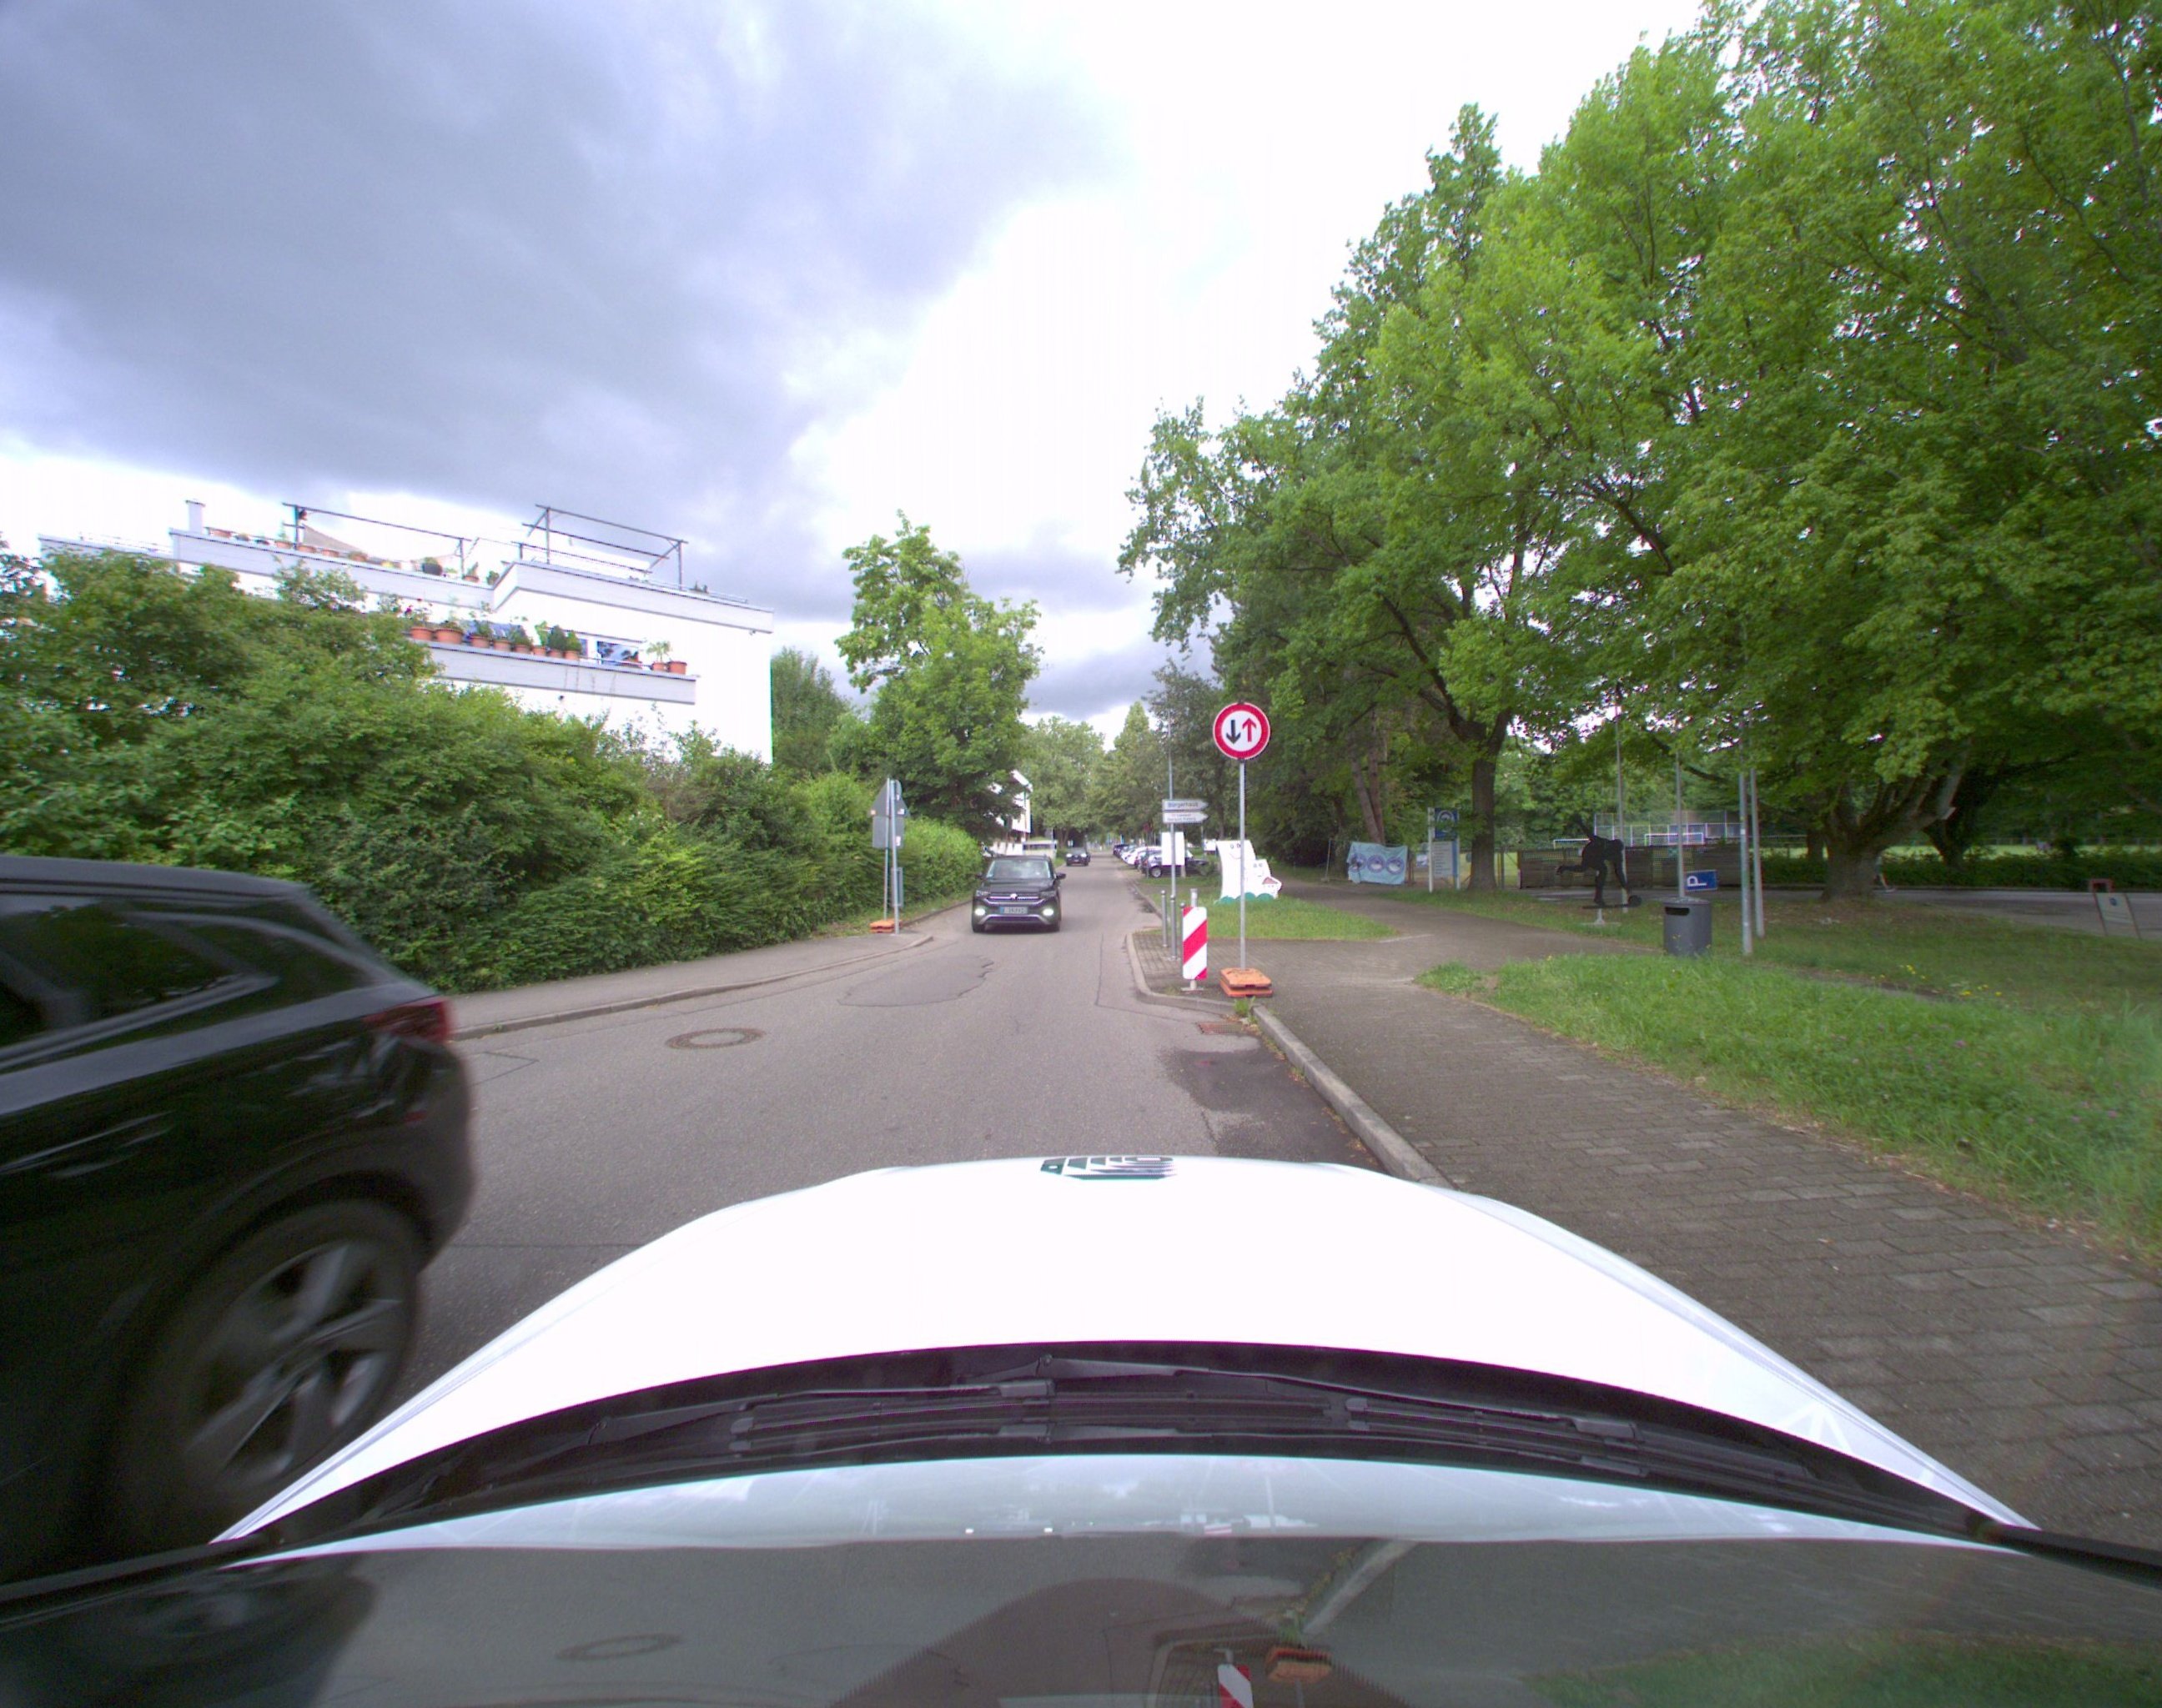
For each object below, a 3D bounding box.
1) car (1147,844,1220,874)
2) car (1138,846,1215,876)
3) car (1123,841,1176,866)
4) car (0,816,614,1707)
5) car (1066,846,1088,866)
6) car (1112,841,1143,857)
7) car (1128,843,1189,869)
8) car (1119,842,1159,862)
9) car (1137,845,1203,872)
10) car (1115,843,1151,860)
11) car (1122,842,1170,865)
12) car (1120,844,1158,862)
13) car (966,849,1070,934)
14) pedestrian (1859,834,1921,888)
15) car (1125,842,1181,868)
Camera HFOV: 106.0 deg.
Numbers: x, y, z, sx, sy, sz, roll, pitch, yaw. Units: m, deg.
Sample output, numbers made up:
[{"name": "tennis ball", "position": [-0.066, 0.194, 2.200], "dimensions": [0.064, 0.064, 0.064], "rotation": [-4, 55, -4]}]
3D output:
[{"name": "car", "position": [6.068, 0.333, 48.447], "dimensions": [4.049, 1.568, 1.822], "rotation": [-3, -1, 0]}, {"name": "car", "position": [5.310, 0.419, 45.828], "dimensions": [4.049, 1.434, 2.000], "rotation": [-3, -1, 0]}, {"name": "car", "position": [5.663, -0.039, 67.564], "dimensions": [4.053, 1.687, 1.821], "rotation": [-5, 0, -2]}, {"name": "car", "position": [-2.750, 0.752, 0.806], "dimensions": [1.794, 1.591, 4.302], "rotation": [-1, 0, 5]}, {"name": "car", "position": [-0.343, 0.176, 77.987], "dimensions": [1.962, 1.747, 4.338], "rotation": [-1, 0, 1]}, {"name": "car", "position": [6.415, -0.704, 113.671], "dimensions": [4.053, 1.770, 1.821], "rotation": [-5, 0, -2]}, {"name": "car", "position": [5.503, 0.137, 58.214], "dimensions": [4.053, 1.488, 1.821], "rotation": [-5, 0, -2]}, {"name": "car", "position": [6.190, -0.224, 87.087], "dimensions": [4.053, 1.687, 1.821], "rotation": [-5, 0, -2]}, {"name": "car", "position": [5.812, 0.288, 53.527], "dimensions": [4.049, 1.568, 1.823], "rotation": [-3, 0, 0]}, {"name": "car", "position": [6.265, -0.303, 98.029], "dimensions": [4.053, 1.687, 1.821], "rotation": [-5, 0, -2]}, {"name": "car", "position": [5.850, -0.048, 73.948], "dimensions": [4.053, 1.687, 1.821], "rotation": [-5, 0, -2]}, {"name": "car", "position": [6.602, -0.142, 92.976], "dimensions": [4.053, 1.687, 1.821], "rotation": [-5, 0, -2]}, {"name": "car", "position": [-1.243, 0.705, 17.736], "dimensions": [1.796, 1.591, 4.297], "rotation": [-1, 0, 1]}, {"name": "pedestrian", "position": [26.243, 0.227, 26.435], "dimensions": [1.137, 1.674, 0.798], "rotation": [-3, -2, 27]}, {"name": "car", "position": [5.569, 0.084, 63.472], "dimensions": [4.053, 1.687, 1.821], "rotation": [-5, 0, -2]}]
